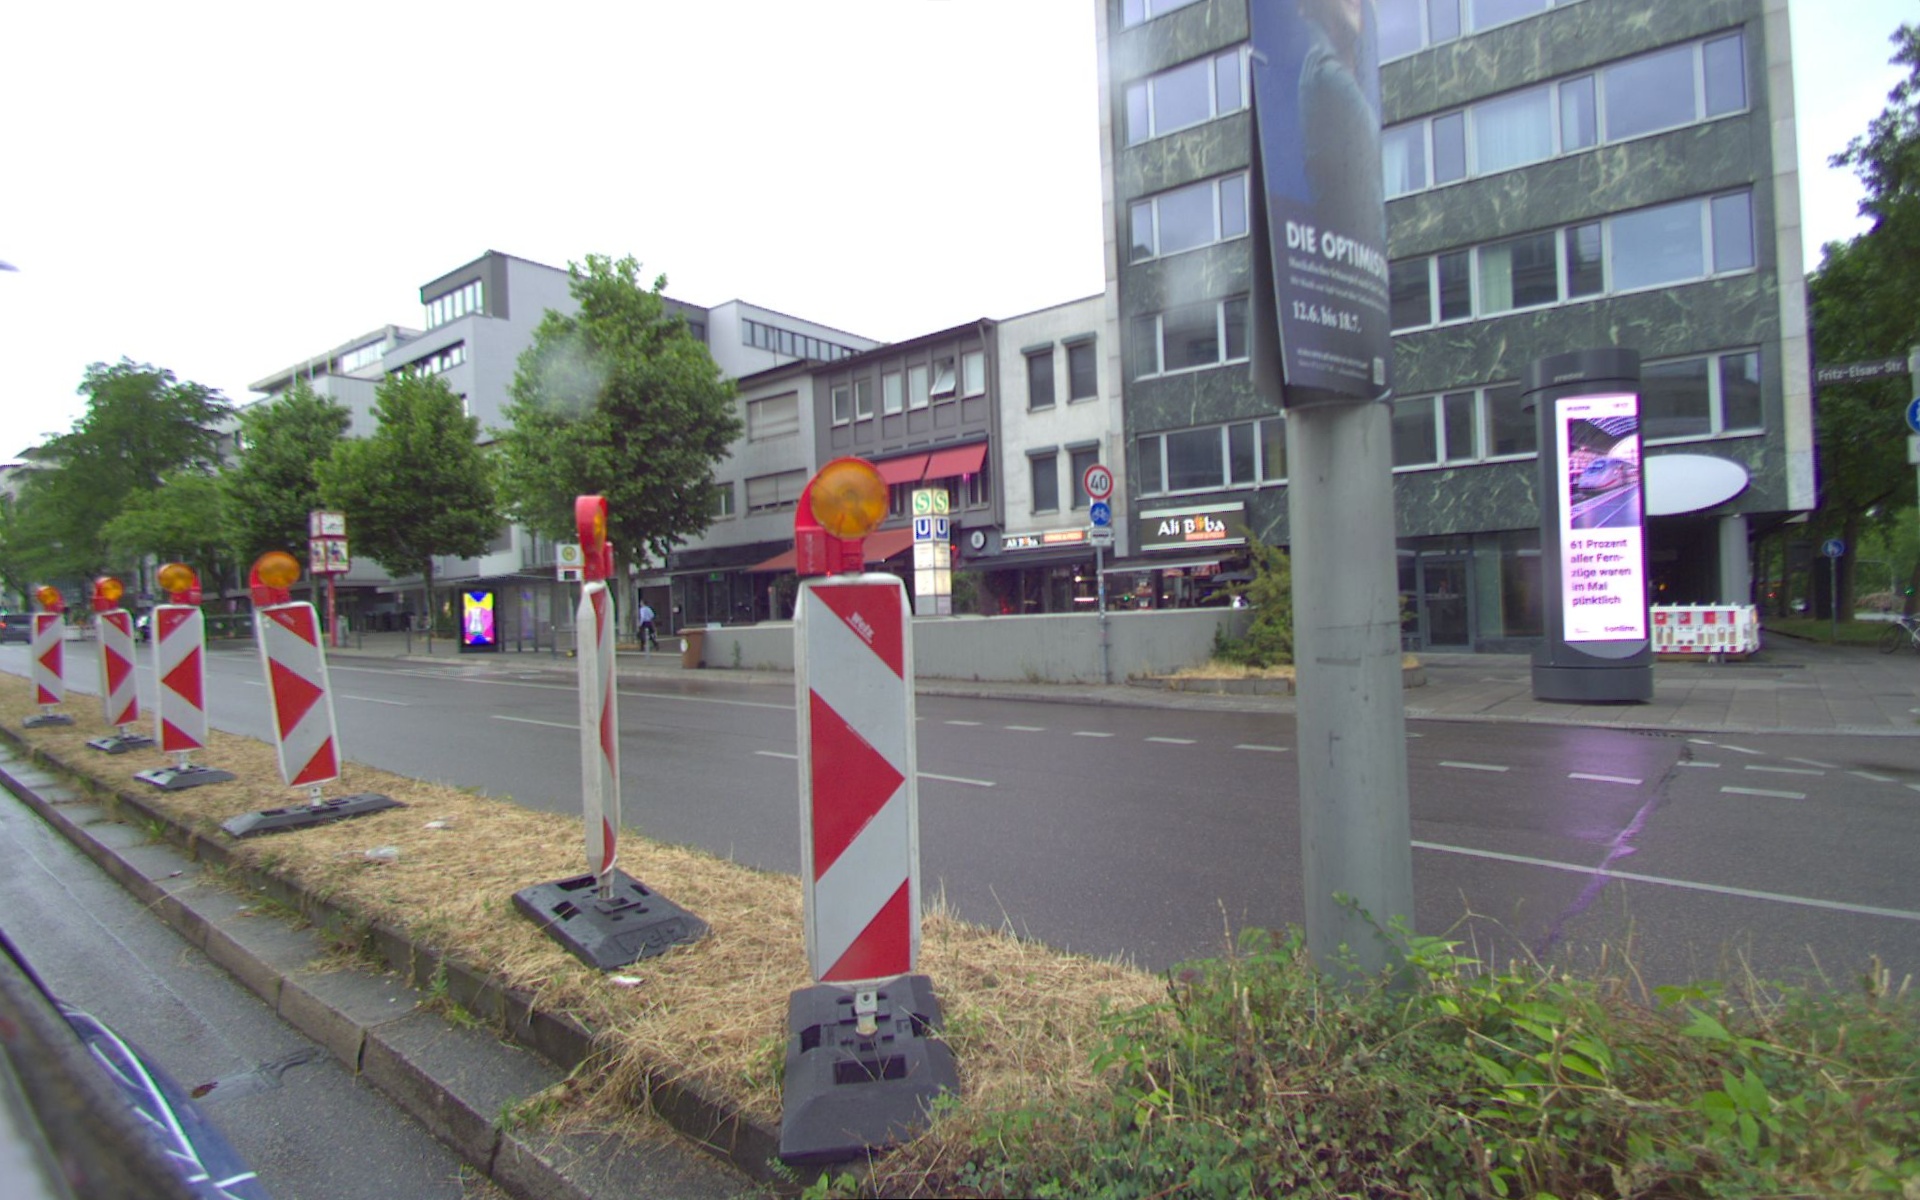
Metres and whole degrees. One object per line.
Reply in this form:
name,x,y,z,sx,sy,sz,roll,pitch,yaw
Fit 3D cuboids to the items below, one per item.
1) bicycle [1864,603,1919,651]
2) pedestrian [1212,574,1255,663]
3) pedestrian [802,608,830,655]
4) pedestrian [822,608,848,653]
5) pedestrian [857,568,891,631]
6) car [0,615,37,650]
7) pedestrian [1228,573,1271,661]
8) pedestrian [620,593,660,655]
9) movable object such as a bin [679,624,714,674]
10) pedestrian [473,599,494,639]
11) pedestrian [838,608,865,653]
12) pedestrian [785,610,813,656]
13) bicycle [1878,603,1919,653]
bicycle,21.258,0.592,22.396,1.780,1.060,0.579,-1,-1,37
pedestrian,6.349,0.417,23.530,0.588,2.029,0.730,0,-1,-29
pedestrian,-4.783,1.056,33.663,0.611,1.540,0.660,-2,-1,44
pedestrian,-4.378,1.050,35.438,0.611,1.540,0.660,-2,-1,44
pedestrian,-2.537,-0.011,29.903,0.791,1.837,0.603,-1,0,36
car,-57.974,1.942,61.859,4.966,1.942,1.971,1,-1,44
pedestrian,6.811,0.403,23.823,0.588,2.029,0.730,0,-1,-29
pedestrian,-10.595,0.787,33.514,0.943,2.029,0.910,-1,0,41
movable object such as a bin,-6.106,1.130,23.459,0.660,1.109,0.501,-1,0,39
pedestrian,-24.513,0.994,52.082,0.764,2.029,0.768,-1,0,-41
pedestrian,-3.759,1.042,35.025,0.611,1.540,0.660,-2,-1,44
pedestrian,-5.463,1.102,34.337,0.611,1.540,0.660,-2,-1,44
bicycle,20.794,0.598,21.532,1.780,1.060,0.579,-1,-1,37
